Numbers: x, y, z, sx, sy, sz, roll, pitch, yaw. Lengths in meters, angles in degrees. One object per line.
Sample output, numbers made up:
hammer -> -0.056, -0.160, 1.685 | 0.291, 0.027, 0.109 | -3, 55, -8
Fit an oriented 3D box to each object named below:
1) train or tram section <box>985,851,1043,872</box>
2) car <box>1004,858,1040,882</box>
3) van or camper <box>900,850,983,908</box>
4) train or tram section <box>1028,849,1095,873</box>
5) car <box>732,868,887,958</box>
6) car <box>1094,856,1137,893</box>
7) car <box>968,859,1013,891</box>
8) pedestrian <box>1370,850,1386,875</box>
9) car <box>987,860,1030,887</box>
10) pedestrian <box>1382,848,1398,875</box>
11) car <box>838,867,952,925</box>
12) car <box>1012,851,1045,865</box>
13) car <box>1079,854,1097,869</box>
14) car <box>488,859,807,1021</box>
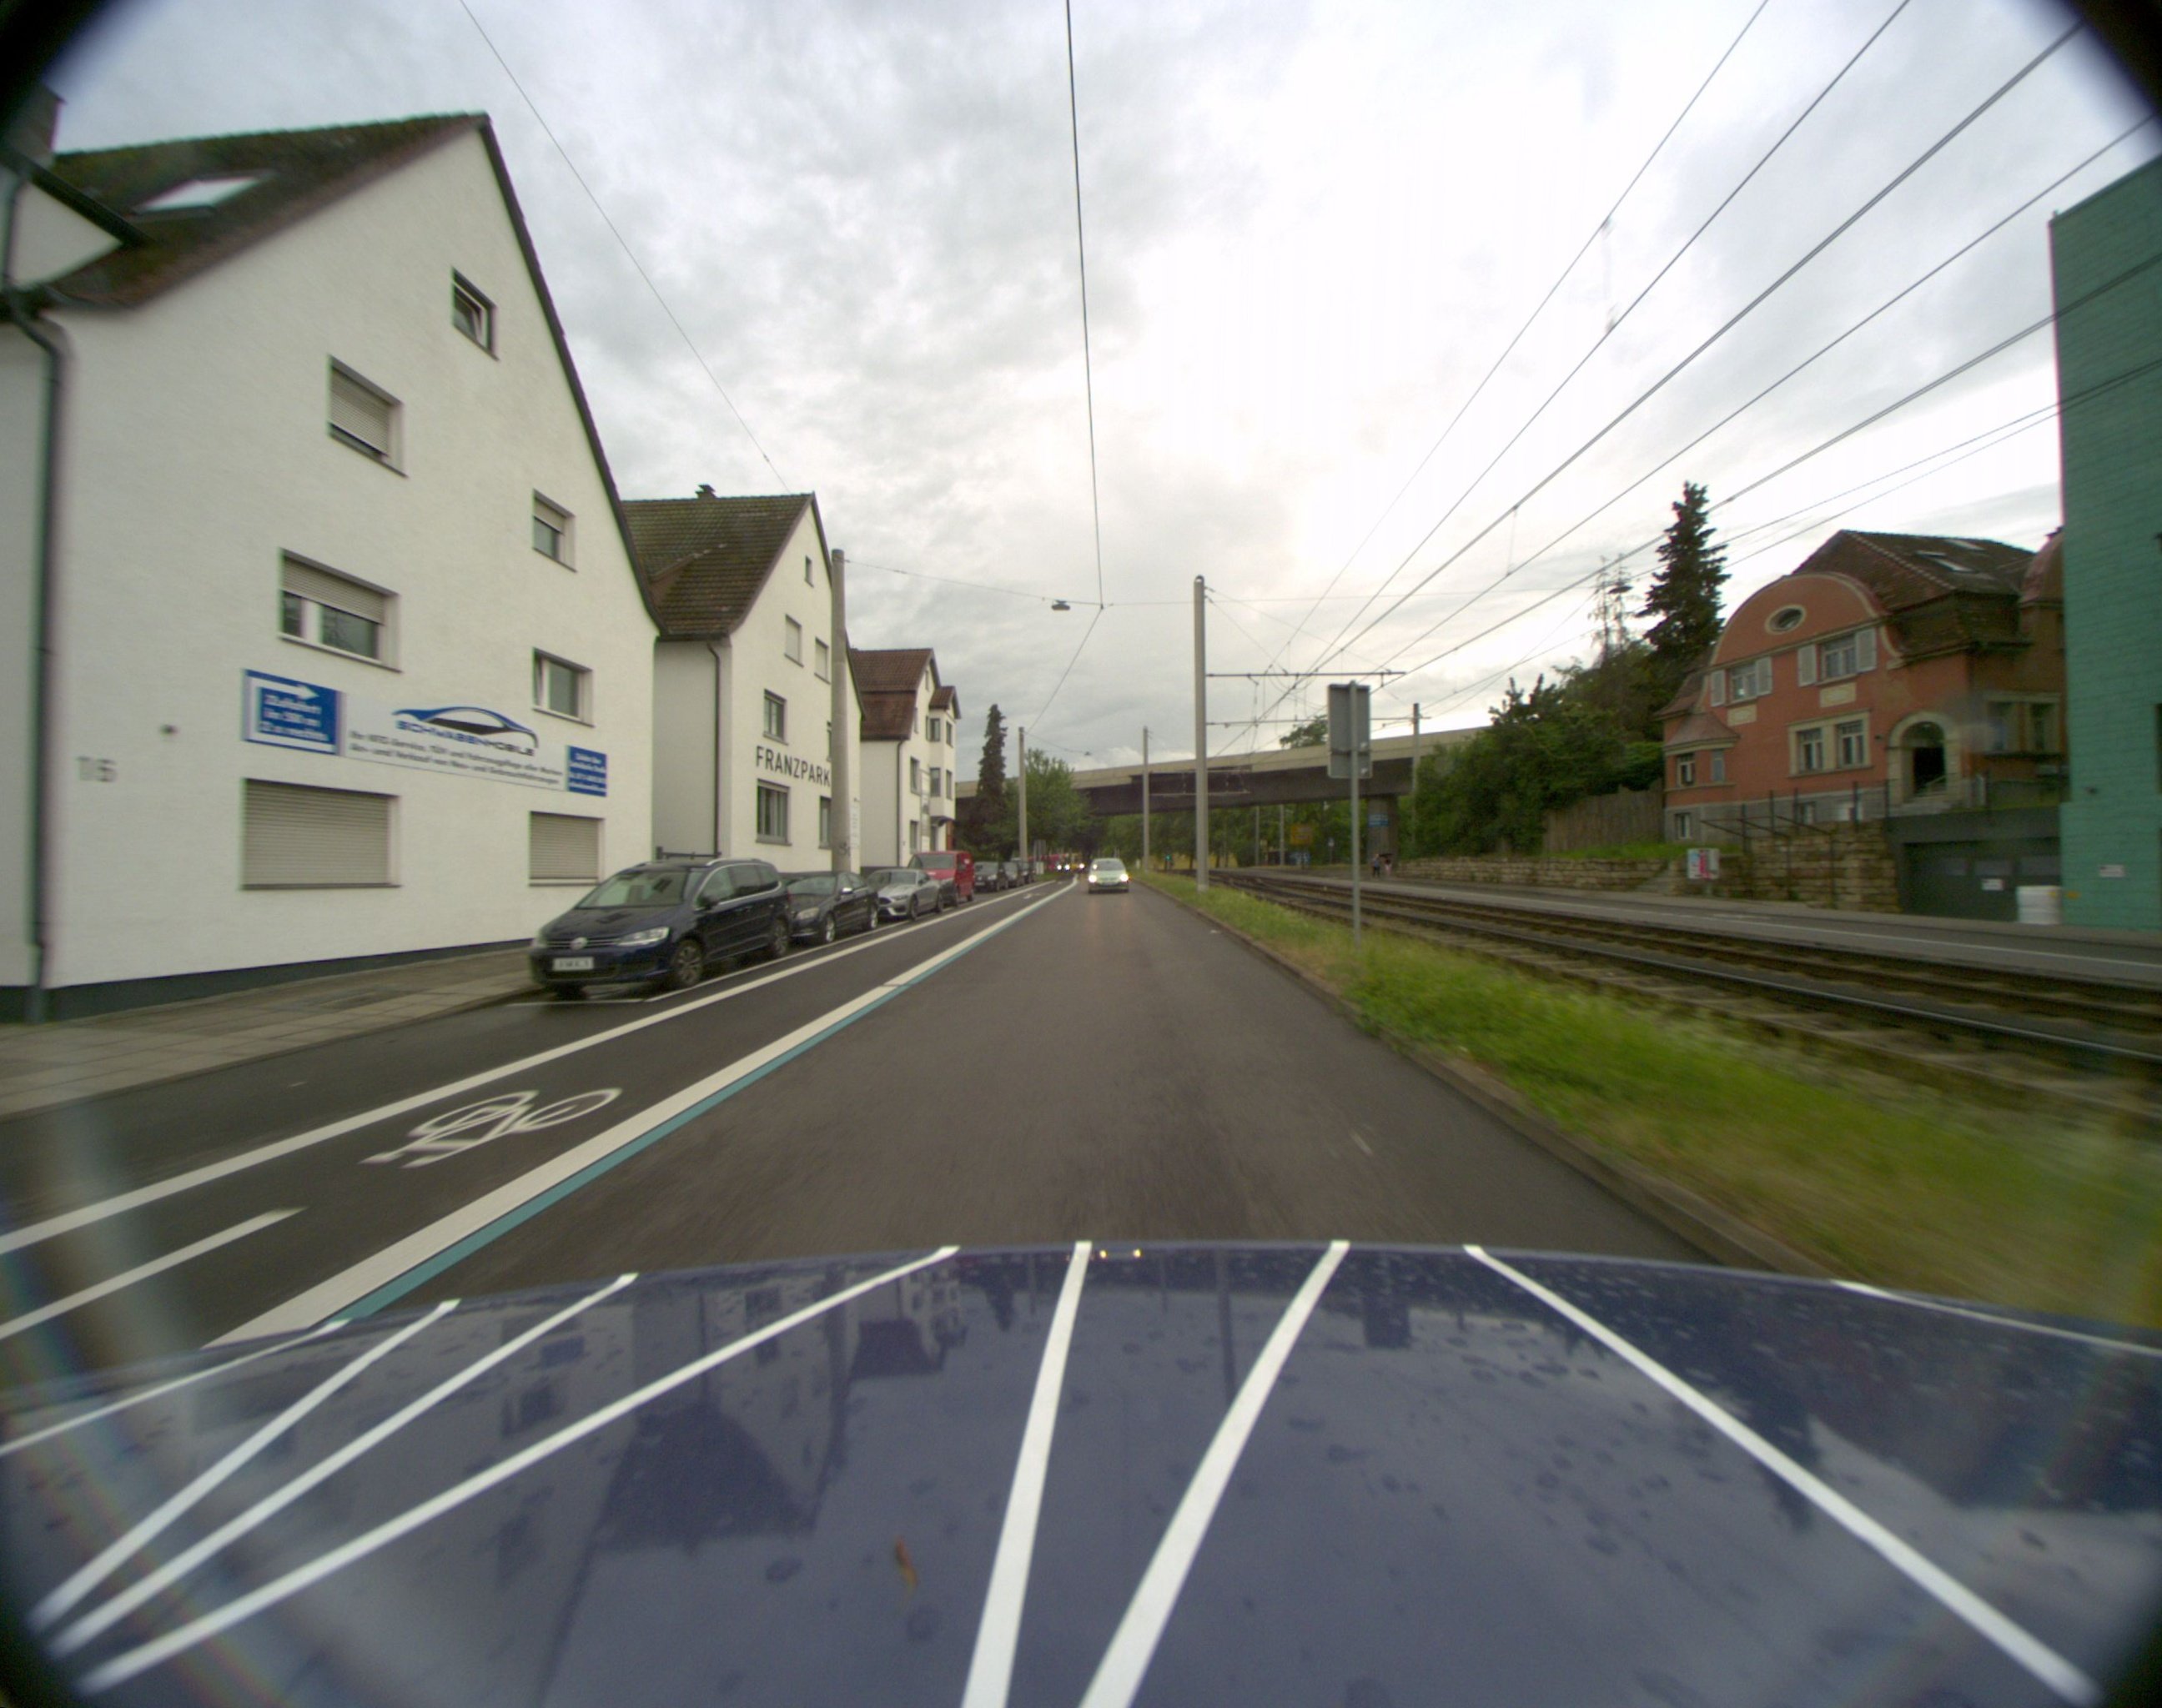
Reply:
train or tram section -> -13.853, 1.680, 153.526 | 2.882, 3.947, 19.284 | -3, 0, -33
car -> -3.748, 1.008, 48.913 | 1.680, 1.414, 4.566 | -2, 0, 3
van or camper -> -4.899, 0.823, 27.420 | 1.855, 1.909, 4.995 | 0, 0, 2
train or tram section -> -3.836, 1.290, 136.992 | 2.881, 3.937, 19.287 | -3, 0, -30
car -> -5.573, 1.132, 16.183 | 1.638, 1.529, 4.136 | -3, 0, 2
car -> 1.532, 0.903, 33.613 | 1.780, 1.492, 4.002 | 0, -1, 2
car -> -4.506, 1.017, 38.359 | 1.581, 1.443, 3.720 | 0, 1, 4
pedestrian -> 20.126, 0.603, 51.522 | 0.695, 1.660, 0.888 | -2, -1, 5
car -> -4.048, 1.060, 43.060 | 1.716, 1.404, 4.566 | -1, 0, 3
pedestrian -> 21.129, 0.513, 52.016 | 0.695, 1.820, 0.867 | -2, -1, 2
car -> -5.187, 1.118, 21.908 | 1.800, 1.368, 4.671 | -1, 0, 4
car -> -5.840, 0.430, 85.041 | 1.798, 1.513, 3.743 | -2, -1, 31
car -> 0.741, 0.727, 79.395 | 1.780, 1.493, 4.000 | -1, 0, -1
car -> -5.933, 1.030, 11.261 | 1.844, 1.790, 4.687 | -3, 0, 2
